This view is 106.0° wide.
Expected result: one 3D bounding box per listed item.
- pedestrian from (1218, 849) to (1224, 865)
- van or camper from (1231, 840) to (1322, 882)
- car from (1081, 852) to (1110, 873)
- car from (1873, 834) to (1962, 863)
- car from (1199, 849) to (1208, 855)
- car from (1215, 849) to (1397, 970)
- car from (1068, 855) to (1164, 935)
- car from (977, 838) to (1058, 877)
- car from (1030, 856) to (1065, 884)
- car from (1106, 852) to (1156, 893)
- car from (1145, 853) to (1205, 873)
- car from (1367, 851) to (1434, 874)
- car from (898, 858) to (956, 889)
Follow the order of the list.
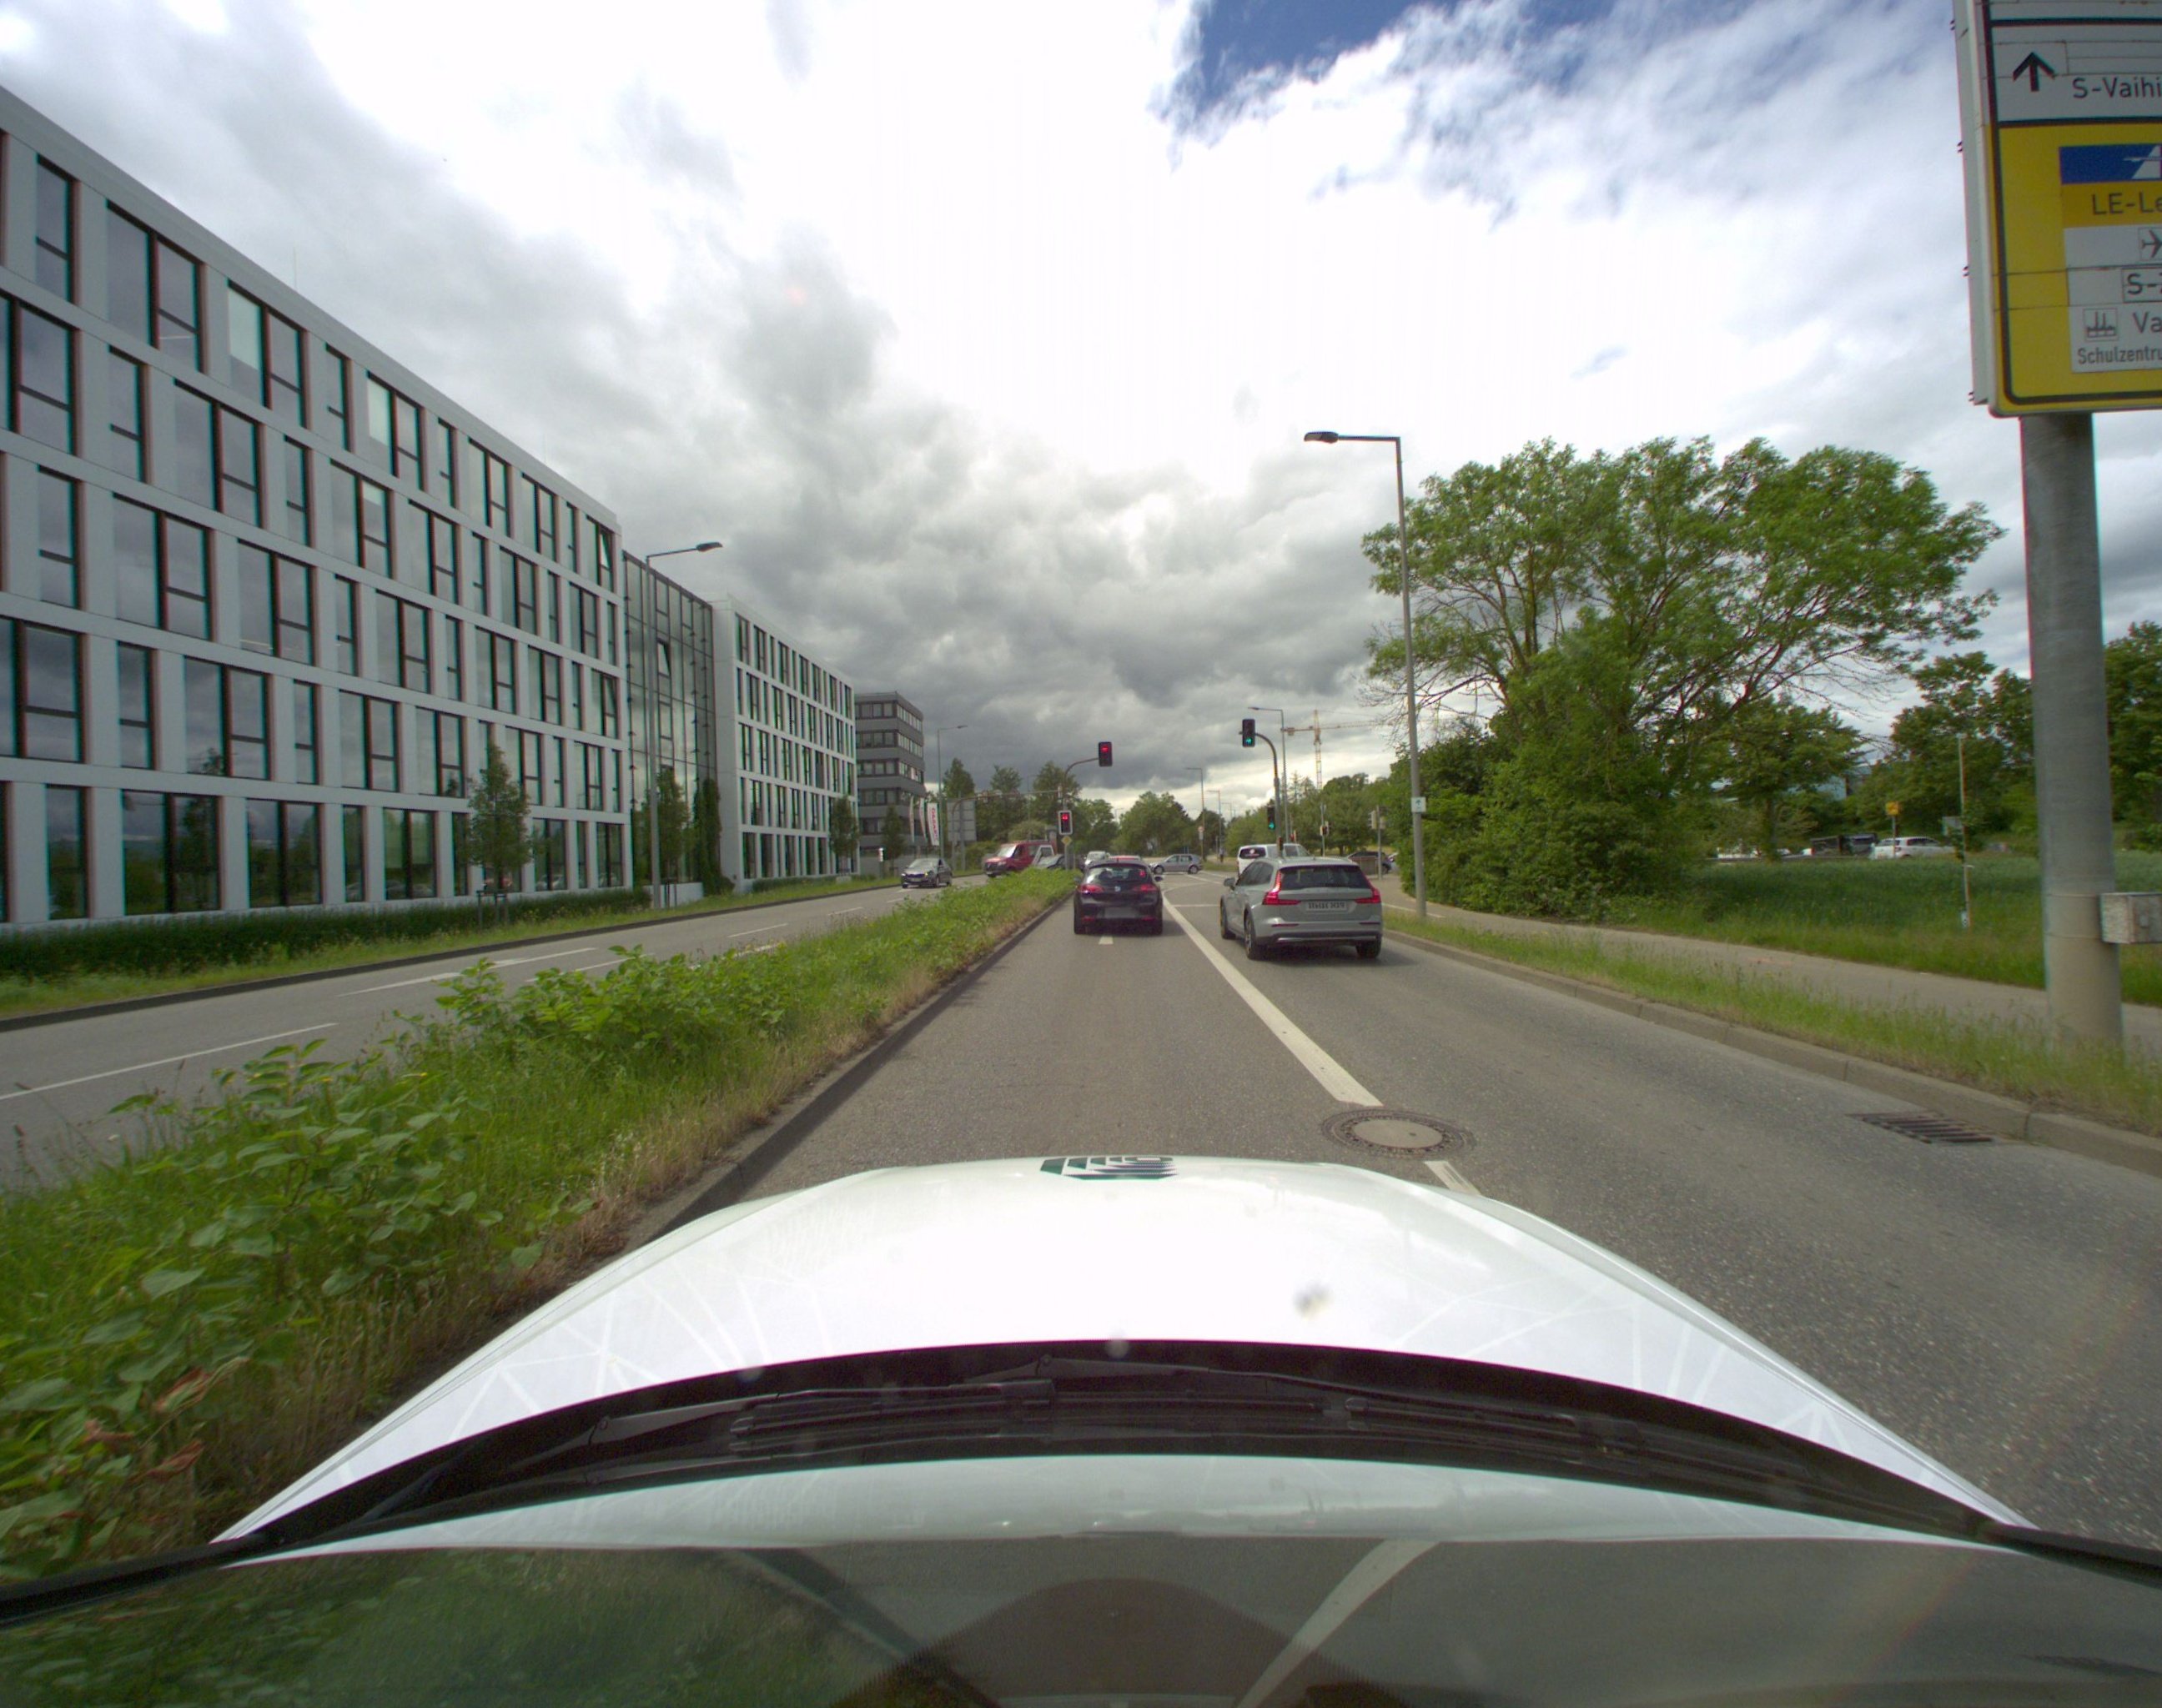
[{"bbox_3d":[15.226,0.290,88.678,0.556,1.726,0.588,-1,0,3],"label":"pedestrian"},{"bbox_3d":[9.630,0.324,39.938,4.972,1.860,1.975,-2,0,-45],"label":"van or camper"},{"bbox_3d":[1.191,0.634,66.099,1.983,1.596,4.007,-1,0,6],"label":"car"},{"bbox_3d":[43.494,-0.275,42.358,3.383,1.345,1.682,-2,0,-13],"label":"car"},{"bbox_3d":[30.263,-0.479,201.090,1.981,1.352,4.012,-1,0,11],"label":"car"},{"bbox_3d":[3.297,0.723,12.877,1.855,1.518,4.451,-2,0,4],"label":"car"},{"bbox_3d":[0.738,0.753,16.840,1.766,1.452,3.585,-1,0,3],"label":"car"},{"bbox_3d":[-4.062,0.195,52.995,1.975,2.412,5.273,-2,0,43],"label":"car"},{"bbox_3d":[-1.903,0.871,47.014,1.672,1.482,4.002,-1,0,2],"label":"car"},{"bbox_3d":[1.965,0.694,32.824,1.767,1.491,3.582,-2,0,1],"label":"car"},{"bbox_3d":[6.799,0.630,59.169,3.978,1.354,1.998,-2,0,-3],"label":"car"},{"bbox_3d":[22.515,0.602,57.539,3.971,1.530,2.001,-1,0,2],"label":"car"},{"bbox_3d":[-7.570,0.924,40.346,1.925,1.398,4.002,-1,0,2],"label":"car"}]
